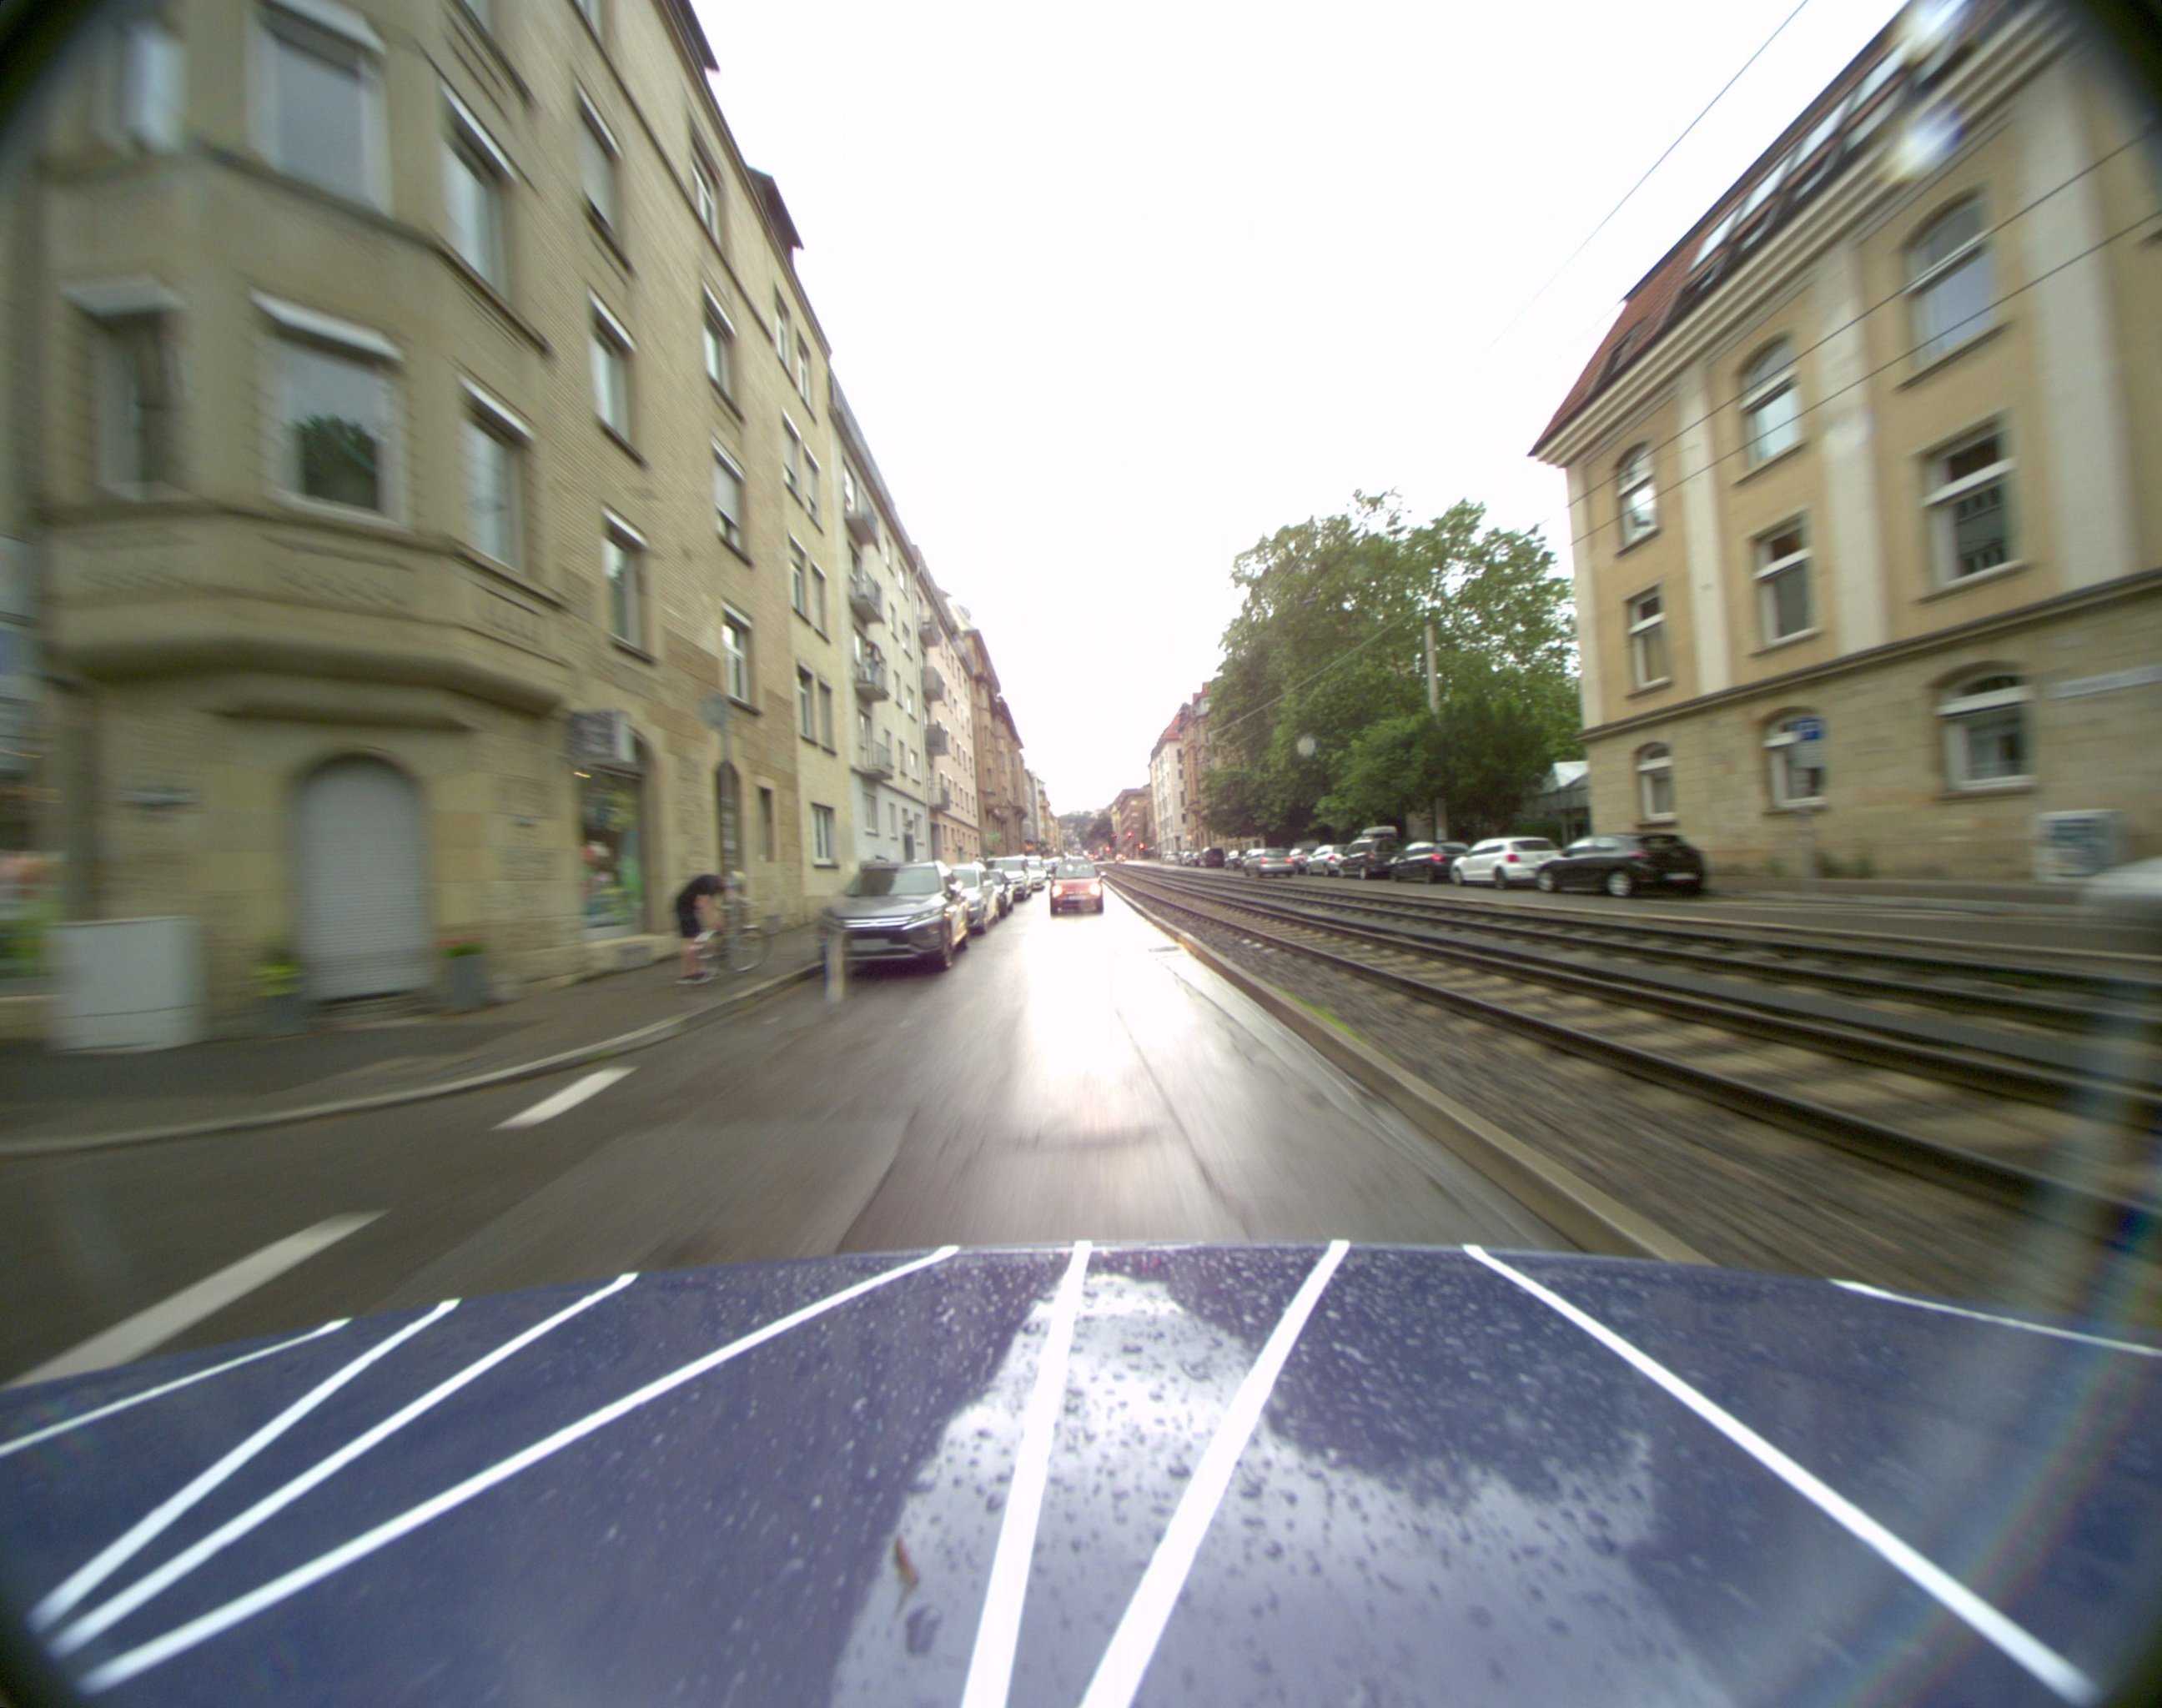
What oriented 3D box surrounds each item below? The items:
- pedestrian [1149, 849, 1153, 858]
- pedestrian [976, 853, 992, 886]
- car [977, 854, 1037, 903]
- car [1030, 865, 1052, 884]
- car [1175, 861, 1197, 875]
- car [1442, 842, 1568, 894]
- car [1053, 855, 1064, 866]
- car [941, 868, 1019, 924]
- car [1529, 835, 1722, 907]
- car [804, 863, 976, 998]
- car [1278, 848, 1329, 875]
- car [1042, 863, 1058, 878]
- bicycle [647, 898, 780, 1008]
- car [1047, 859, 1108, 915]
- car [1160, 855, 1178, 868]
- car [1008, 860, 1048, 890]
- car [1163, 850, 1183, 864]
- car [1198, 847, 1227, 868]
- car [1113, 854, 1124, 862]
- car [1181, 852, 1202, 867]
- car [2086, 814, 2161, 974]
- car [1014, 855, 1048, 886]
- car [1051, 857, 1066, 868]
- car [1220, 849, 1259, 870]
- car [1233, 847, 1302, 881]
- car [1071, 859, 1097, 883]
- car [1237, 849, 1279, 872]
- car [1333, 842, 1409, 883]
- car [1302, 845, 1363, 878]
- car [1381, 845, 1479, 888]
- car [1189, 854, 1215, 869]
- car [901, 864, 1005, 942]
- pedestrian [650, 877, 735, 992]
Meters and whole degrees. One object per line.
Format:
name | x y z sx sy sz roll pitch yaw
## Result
pedestrian | 13.786 -0.105 149.883 0.603 1.708 0.746 -6 0 2
pedestrian | -5.473 0.858 42.786 0.747 1.823 1.039 -1 0 1
car | -2.939 0.949 31.031 1.833 1.740 4.467 -3 0 1
car | -3.202 1.628 61.242 1.674 1.401 4.311 -3 0 -2
car | 12.024 1.576 87.140 1.875 1.499 4.169 -2 0 -1
car | 12.330 0.385 22.397 1.504 1.383 3.987 -1 0 1
car | -3.750 1.054 129.017 1.797 1.750 4.565 -3 0 -1
car | -2.922 1.176 22.882 1.722 1.339 4.461 -4 0 -1
car | 12.400 0.370 17.639 1.618 1.420 3.852 -3 -1 -1
car | -2.847 1.051 12.348 1.771 1.658 4.331 -4 0 -3
car | 12.145 0.399 41.765 1.543 1.405 3.952 -1 0 -1
car | -3.319 1.763 81.963 1.548 1.406 3.446 -3 0 -2
bicycle | -4.671 1.205 9.850 0.623 1.128 2.127 -3 0 0
car | -0.124 0.952 23.753 1.683 1.531 4.018 -2 0 -1
car | 11.829 0.974 102.269 1.863 1.592 4.430 -2 0 1
car | -2.778 1.091 40.751 1.876 1.447 4.902 -3 0 -1
car | 11.722 0.433 97.292 1.863 1.643 4.315 -3 0 -2
car | 12.020 0.329 69.662 1.805 1.836 4.818 -2 0 0
car | 7.557 0.794 152.998 1.987 1.448 4.294 -2 0 -2
car | 11.890 0.568 82.179 1.699 1.515 3.855 -2 0 0
car | 11.134 0.317 5.816 1.663 1.488 3.784 -3 0 -7
car | -3.028 0.958 46.796 1.795 1.755 4.211 -2 0 -1
car | -2.863 1.093 96.941 1.759 1.379 4.484 -1 0 -4
car | 11.906 0.430 57.362 1.854 1.455 4.549 -1 0 -2
car | 9.275 0.482 38.246 1.822 1.496 4.631 -3 0 -6
car | 0.259 1.516 68.846 2.135 2.002 4.328 -3 0 0
car | 12.025 0.436 51.980 1.759 1.527 4.542 -1 0 0
car | 12.223 0.353 32.325 1.580 1.633 4.071 -1 0 -1
car | 12.209 0.372 37.156 1.543 1.496 4.154 -1 0 -1
car | 12.362 0.425 27.197 1.679 1.405 4.010 -1 0 1
car | 12.089 0.725 76.279 1.767 1.390 4.269 -2 0 -1
car | -2.920 1.069 18.107 1.697 1.520 4.000 -3 0 0
pedestrian | -4.933 1.003 9.678 0.672 1.362 0.642 -3 1 0
